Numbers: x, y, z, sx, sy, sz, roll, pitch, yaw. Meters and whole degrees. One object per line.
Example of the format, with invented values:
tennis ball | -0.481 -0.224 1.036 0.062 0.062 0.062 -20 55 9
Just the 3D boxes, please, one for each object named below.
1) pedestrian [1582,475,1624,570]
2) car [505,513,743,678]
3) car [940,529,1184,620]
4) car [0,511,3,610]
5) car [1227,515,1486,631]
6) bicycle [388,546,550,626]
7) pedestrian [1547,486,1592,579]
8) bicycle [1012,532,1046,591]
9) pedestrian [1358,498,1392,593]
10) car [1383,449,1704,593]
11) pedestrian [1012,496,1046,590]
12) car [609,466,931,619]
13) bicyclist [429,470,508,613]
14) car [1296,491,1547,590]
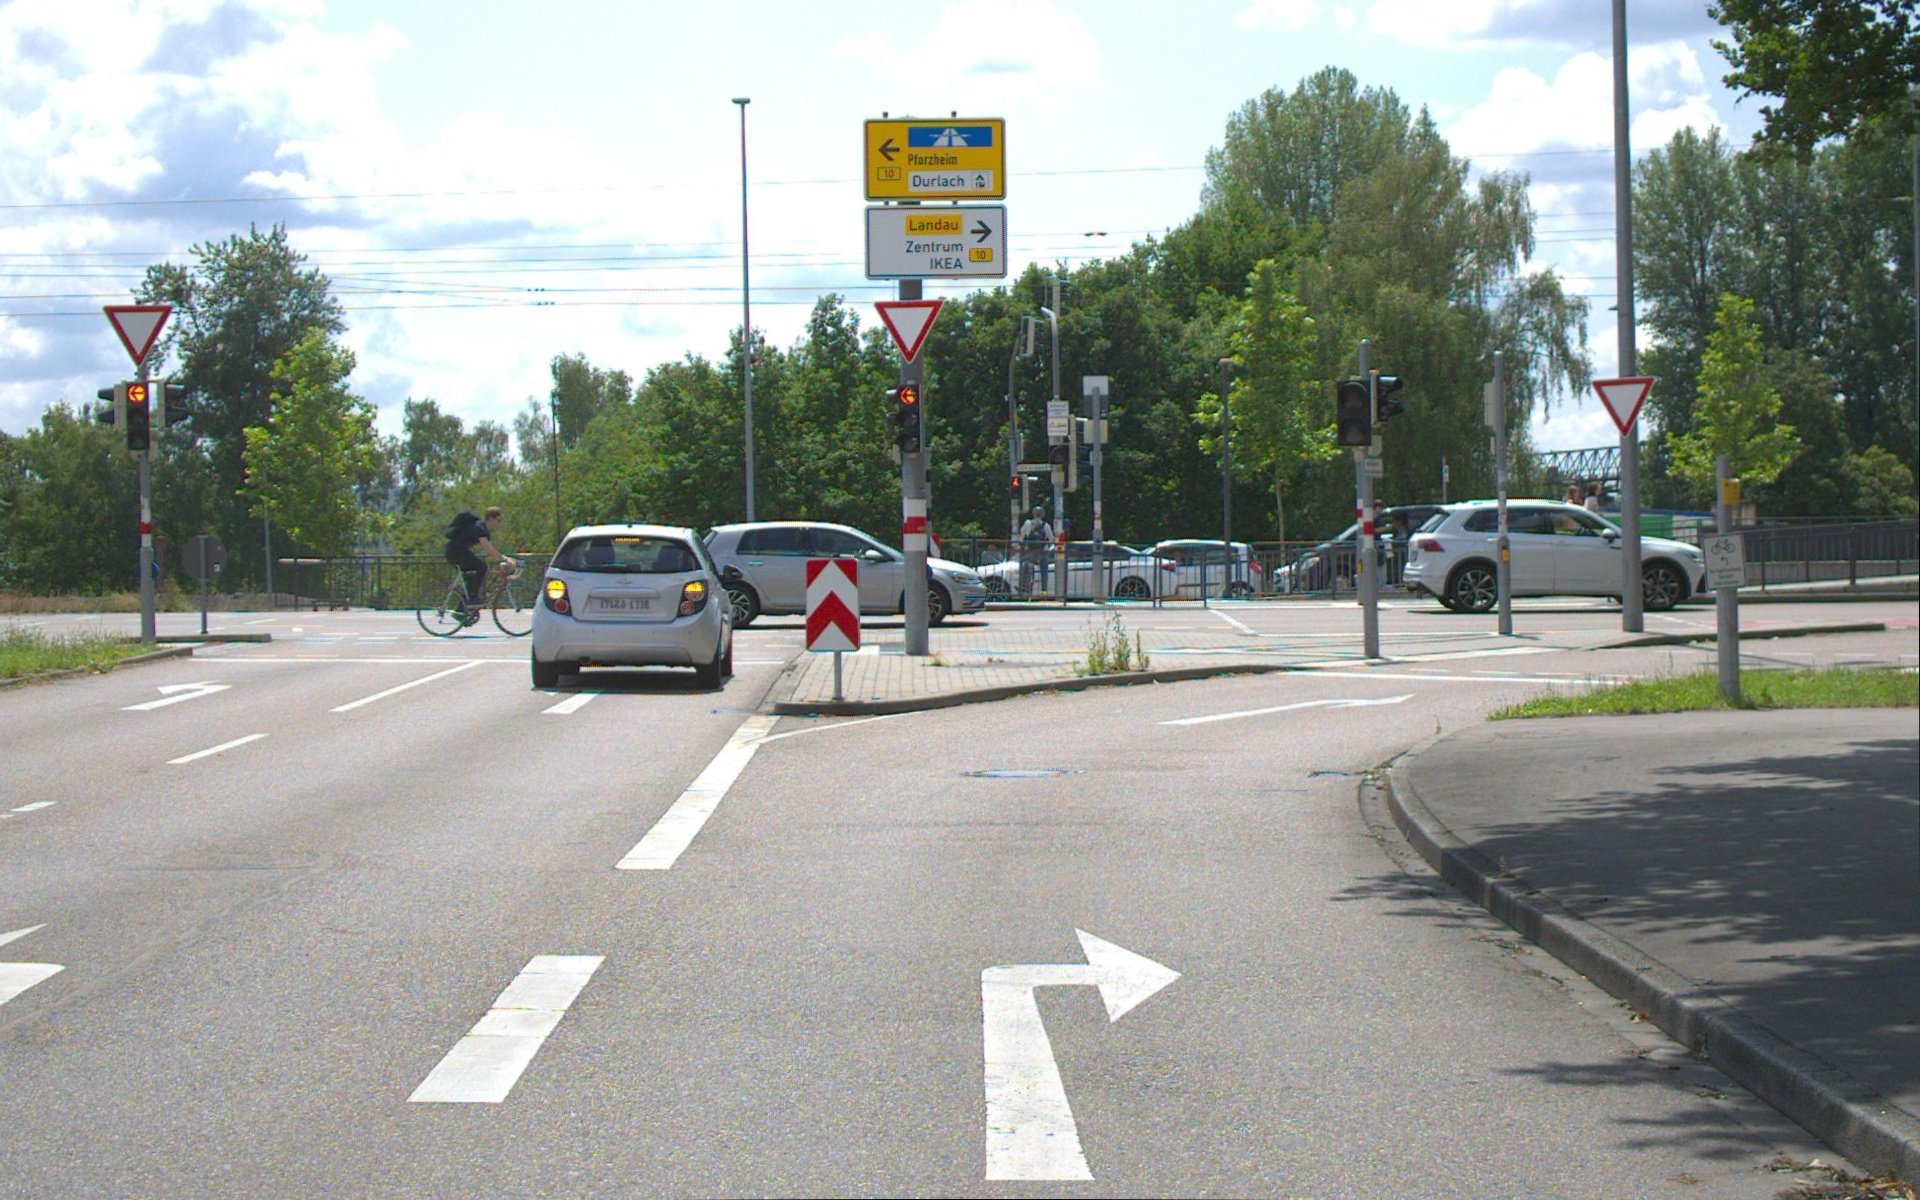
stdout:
pedestrian | 11.953 -1.449 63.908 0.676 1.742 0.637 -1 3 2
car | -3.148 -0.082 32.878 1.894 1.465 3.833 1 1 0
car | 2.165 -0.562 73.941 5.117 1.802 2.000 -1 1 -1
car | -16.816 -0.767 51.523 4.348 1.982 2.000 -1 1 -1
car | 6.564 -0.461 57.142 3.986 1.776 1.910 -2 1 -2
bicycle | -6.409 -0.185 44.921 2.017 0.996 0.622 1 1 -1
pedestrian | 11.454 -1.269 64.660 0.706 1.715 0.601 -2 1 2
bicycle | 1.308 -0.730 65.082 0.619 1.084 1.722 -1 1 1
pedestrian | 7.642 -1.008 63.314 0.523 1.715 0.730 -2 1 3
car | 8.605 -1.168 50.971 4.348 1.982 2.000 -1 1 -1
pedestrian | 1.304 -1.077 65.041 0.611 1.763 0.672 -1 1 1
car | -2.615 -0.805 47.971 4.348 1.982 2.000 -1 1 -1
bicyclist | -6.413 -0.767 44.900 0.921 1.840 0.611 -1 1 -1
car | 9.134 -1.180 68.265 4.651 1.814 2.000 -1 1 -1
